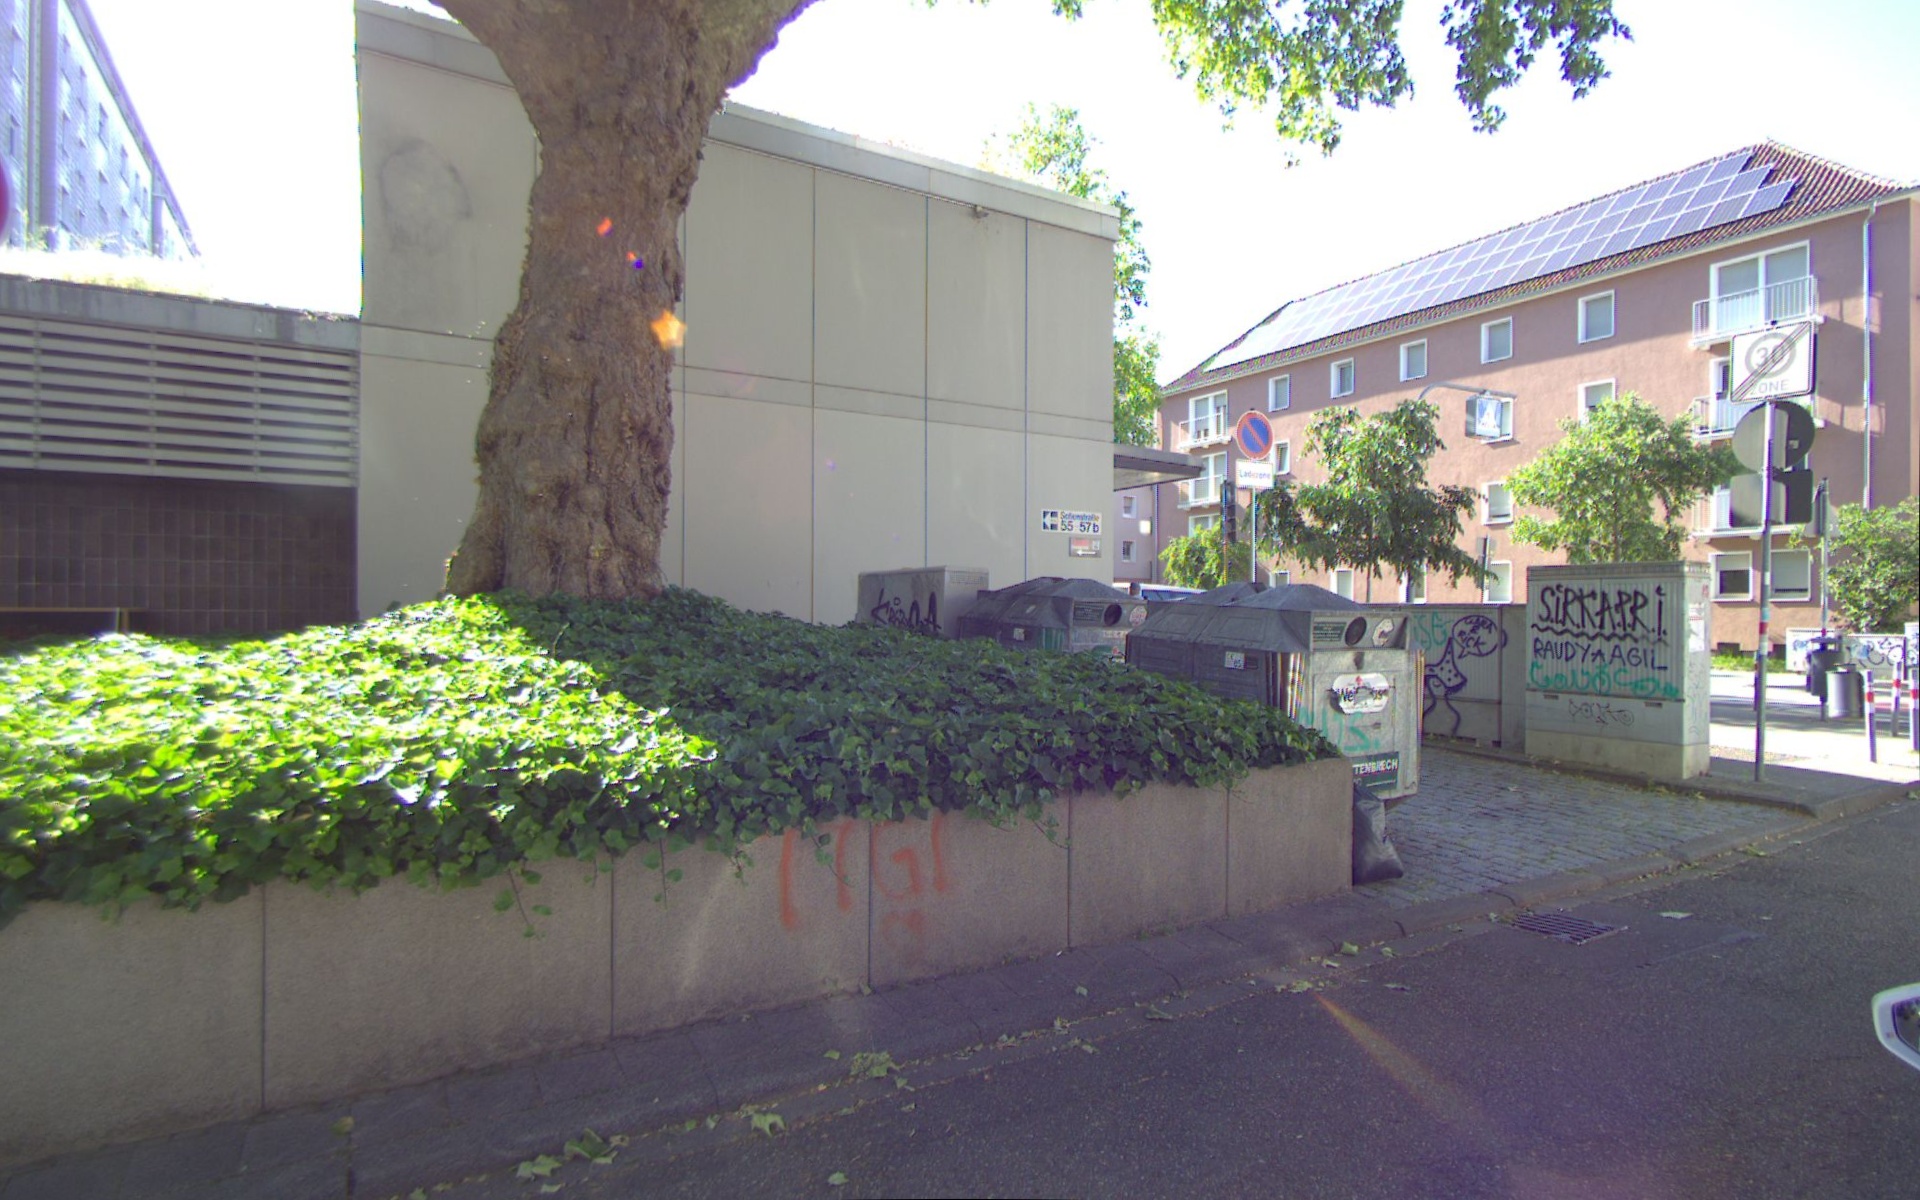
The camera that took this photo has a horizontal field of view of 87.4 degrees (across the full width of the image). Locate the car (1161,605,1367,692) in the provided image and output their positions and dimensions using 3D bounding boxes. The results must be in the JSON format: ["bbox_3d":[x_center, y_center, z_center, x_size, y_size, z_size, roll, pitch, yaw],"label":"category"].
[{"bbox_3d":[6.331,0.945,20.785,4.256,1.634,1.743,1,-1,-32],"label":"car"}]

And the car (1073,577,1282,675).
[{"bbox_3d":[5.045,0.648,23.046,4.694,2.032,1.942,3,-2,-33],"label":"car"}]
